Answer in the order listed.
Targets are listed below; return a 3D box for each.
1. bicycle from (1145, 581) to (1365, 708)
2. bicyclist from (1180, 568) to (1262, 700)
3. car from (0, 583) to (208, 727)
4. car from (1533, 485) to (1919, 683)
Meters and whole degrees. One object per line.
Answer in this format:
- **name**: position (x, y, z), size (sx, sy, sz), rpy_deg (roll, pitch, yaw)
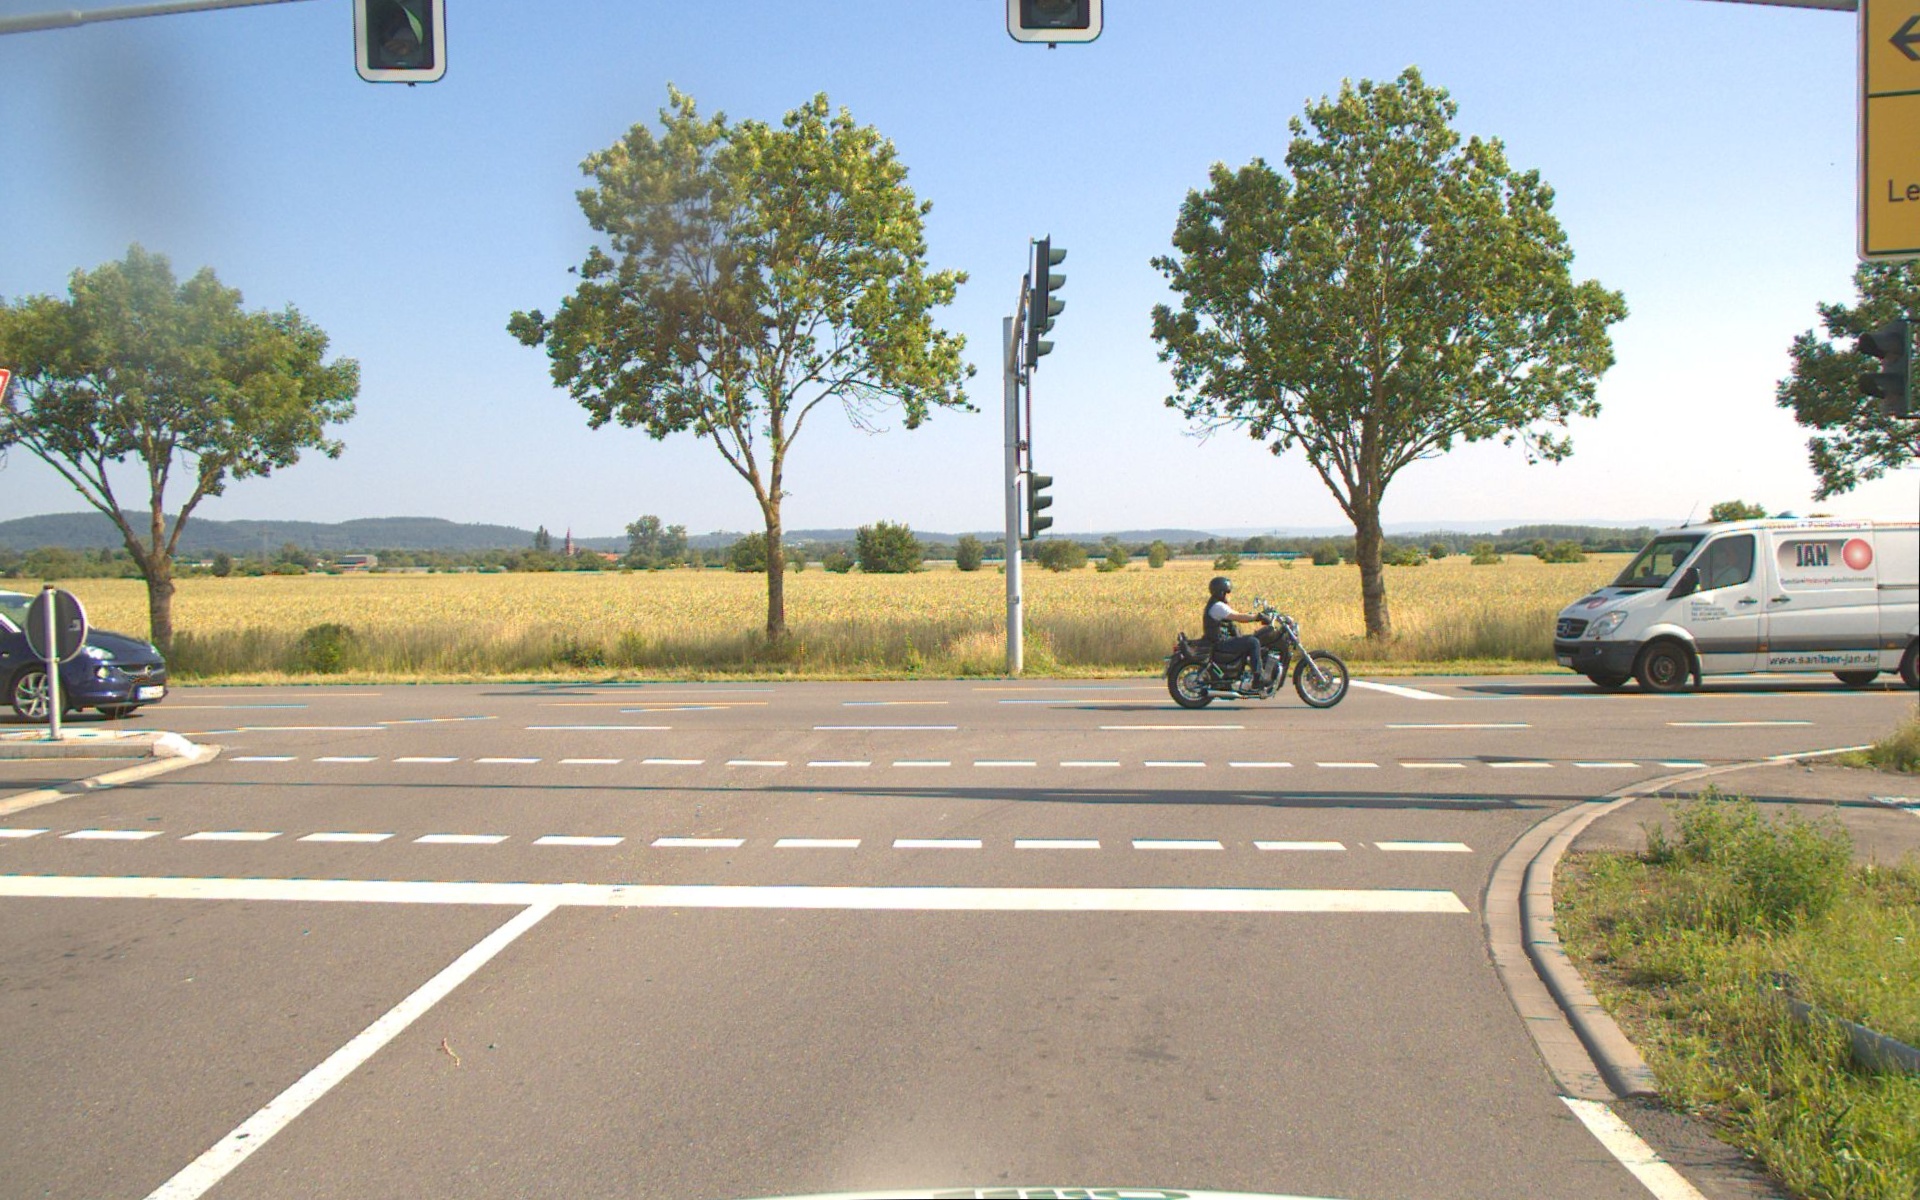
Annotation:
- **bicycle**: position (3.480, 0.511, 19.593), size (2.443, 1.421, 0.731), rpy_deg (-1, 0, -6)
- **bicyclist**: position (3.081, 0.393, 19.570), size (0.792, 1.515, 0.757), rpy_deg (1, 0, -4)
- **car**: position (-10.753, 0.614, 18.704), size (3.650, 1.482, 1.729), rpy_deg (-1, 1, 1)
- **car**: position (11.162, -0.197, 22.777), size (5.837, 2.536, 1.999), rpy_deg (1, 0, -2)
